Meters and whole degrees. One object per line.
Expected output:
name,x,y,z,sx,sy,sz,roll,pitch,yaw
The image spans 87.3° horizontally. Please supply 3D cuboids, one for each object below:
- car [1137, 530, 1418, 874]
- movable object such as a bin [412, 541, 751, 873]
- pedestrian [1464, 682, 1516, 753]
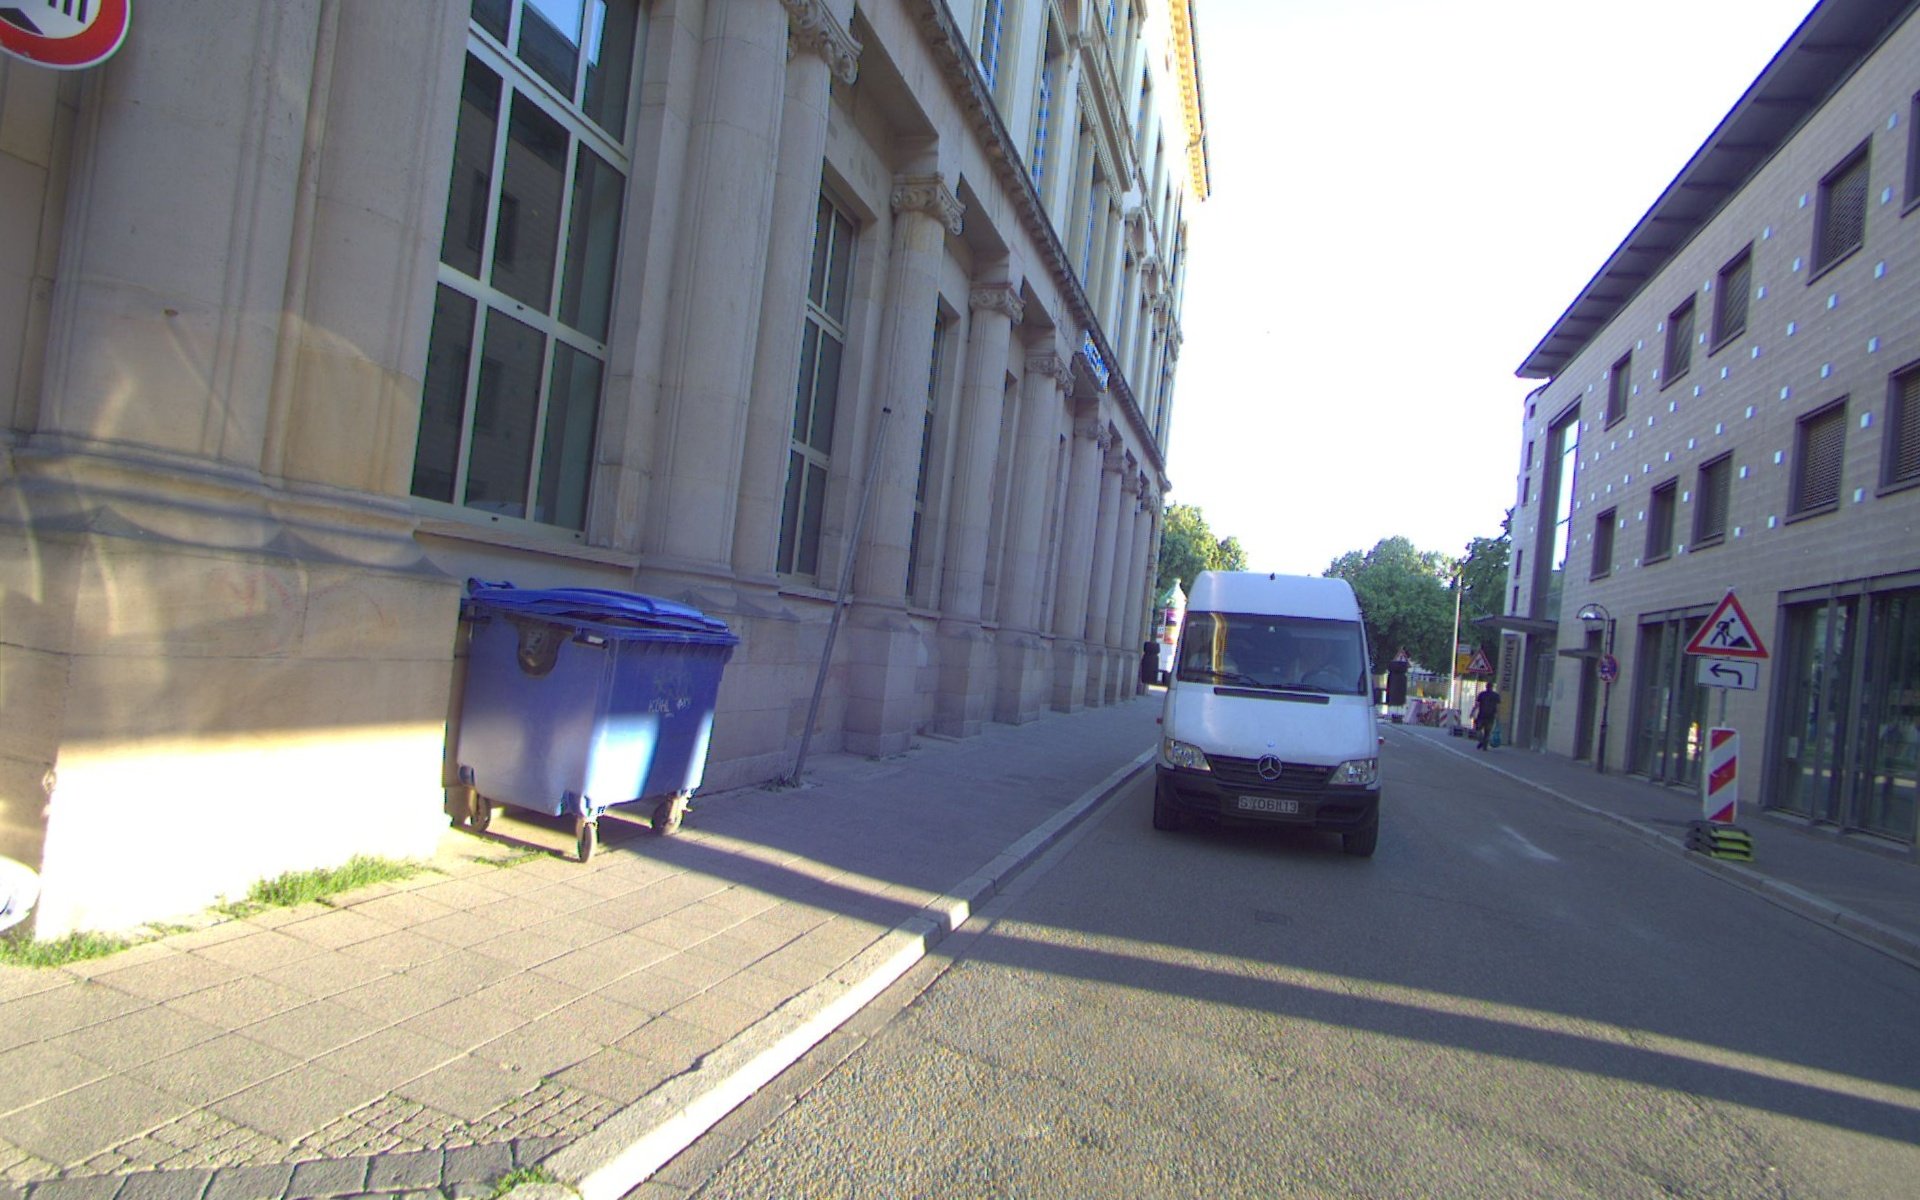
car,3.293,0.953,11.078,1.964,2.542,6.476,4,-2,15
movable object such as a bin,-2.047,0.552,5.601,1.057,1.492,1.188,9,0,21
pedestrian,14.056,3.090,26.700,0.908,1.722,0.869,6,-1,18
